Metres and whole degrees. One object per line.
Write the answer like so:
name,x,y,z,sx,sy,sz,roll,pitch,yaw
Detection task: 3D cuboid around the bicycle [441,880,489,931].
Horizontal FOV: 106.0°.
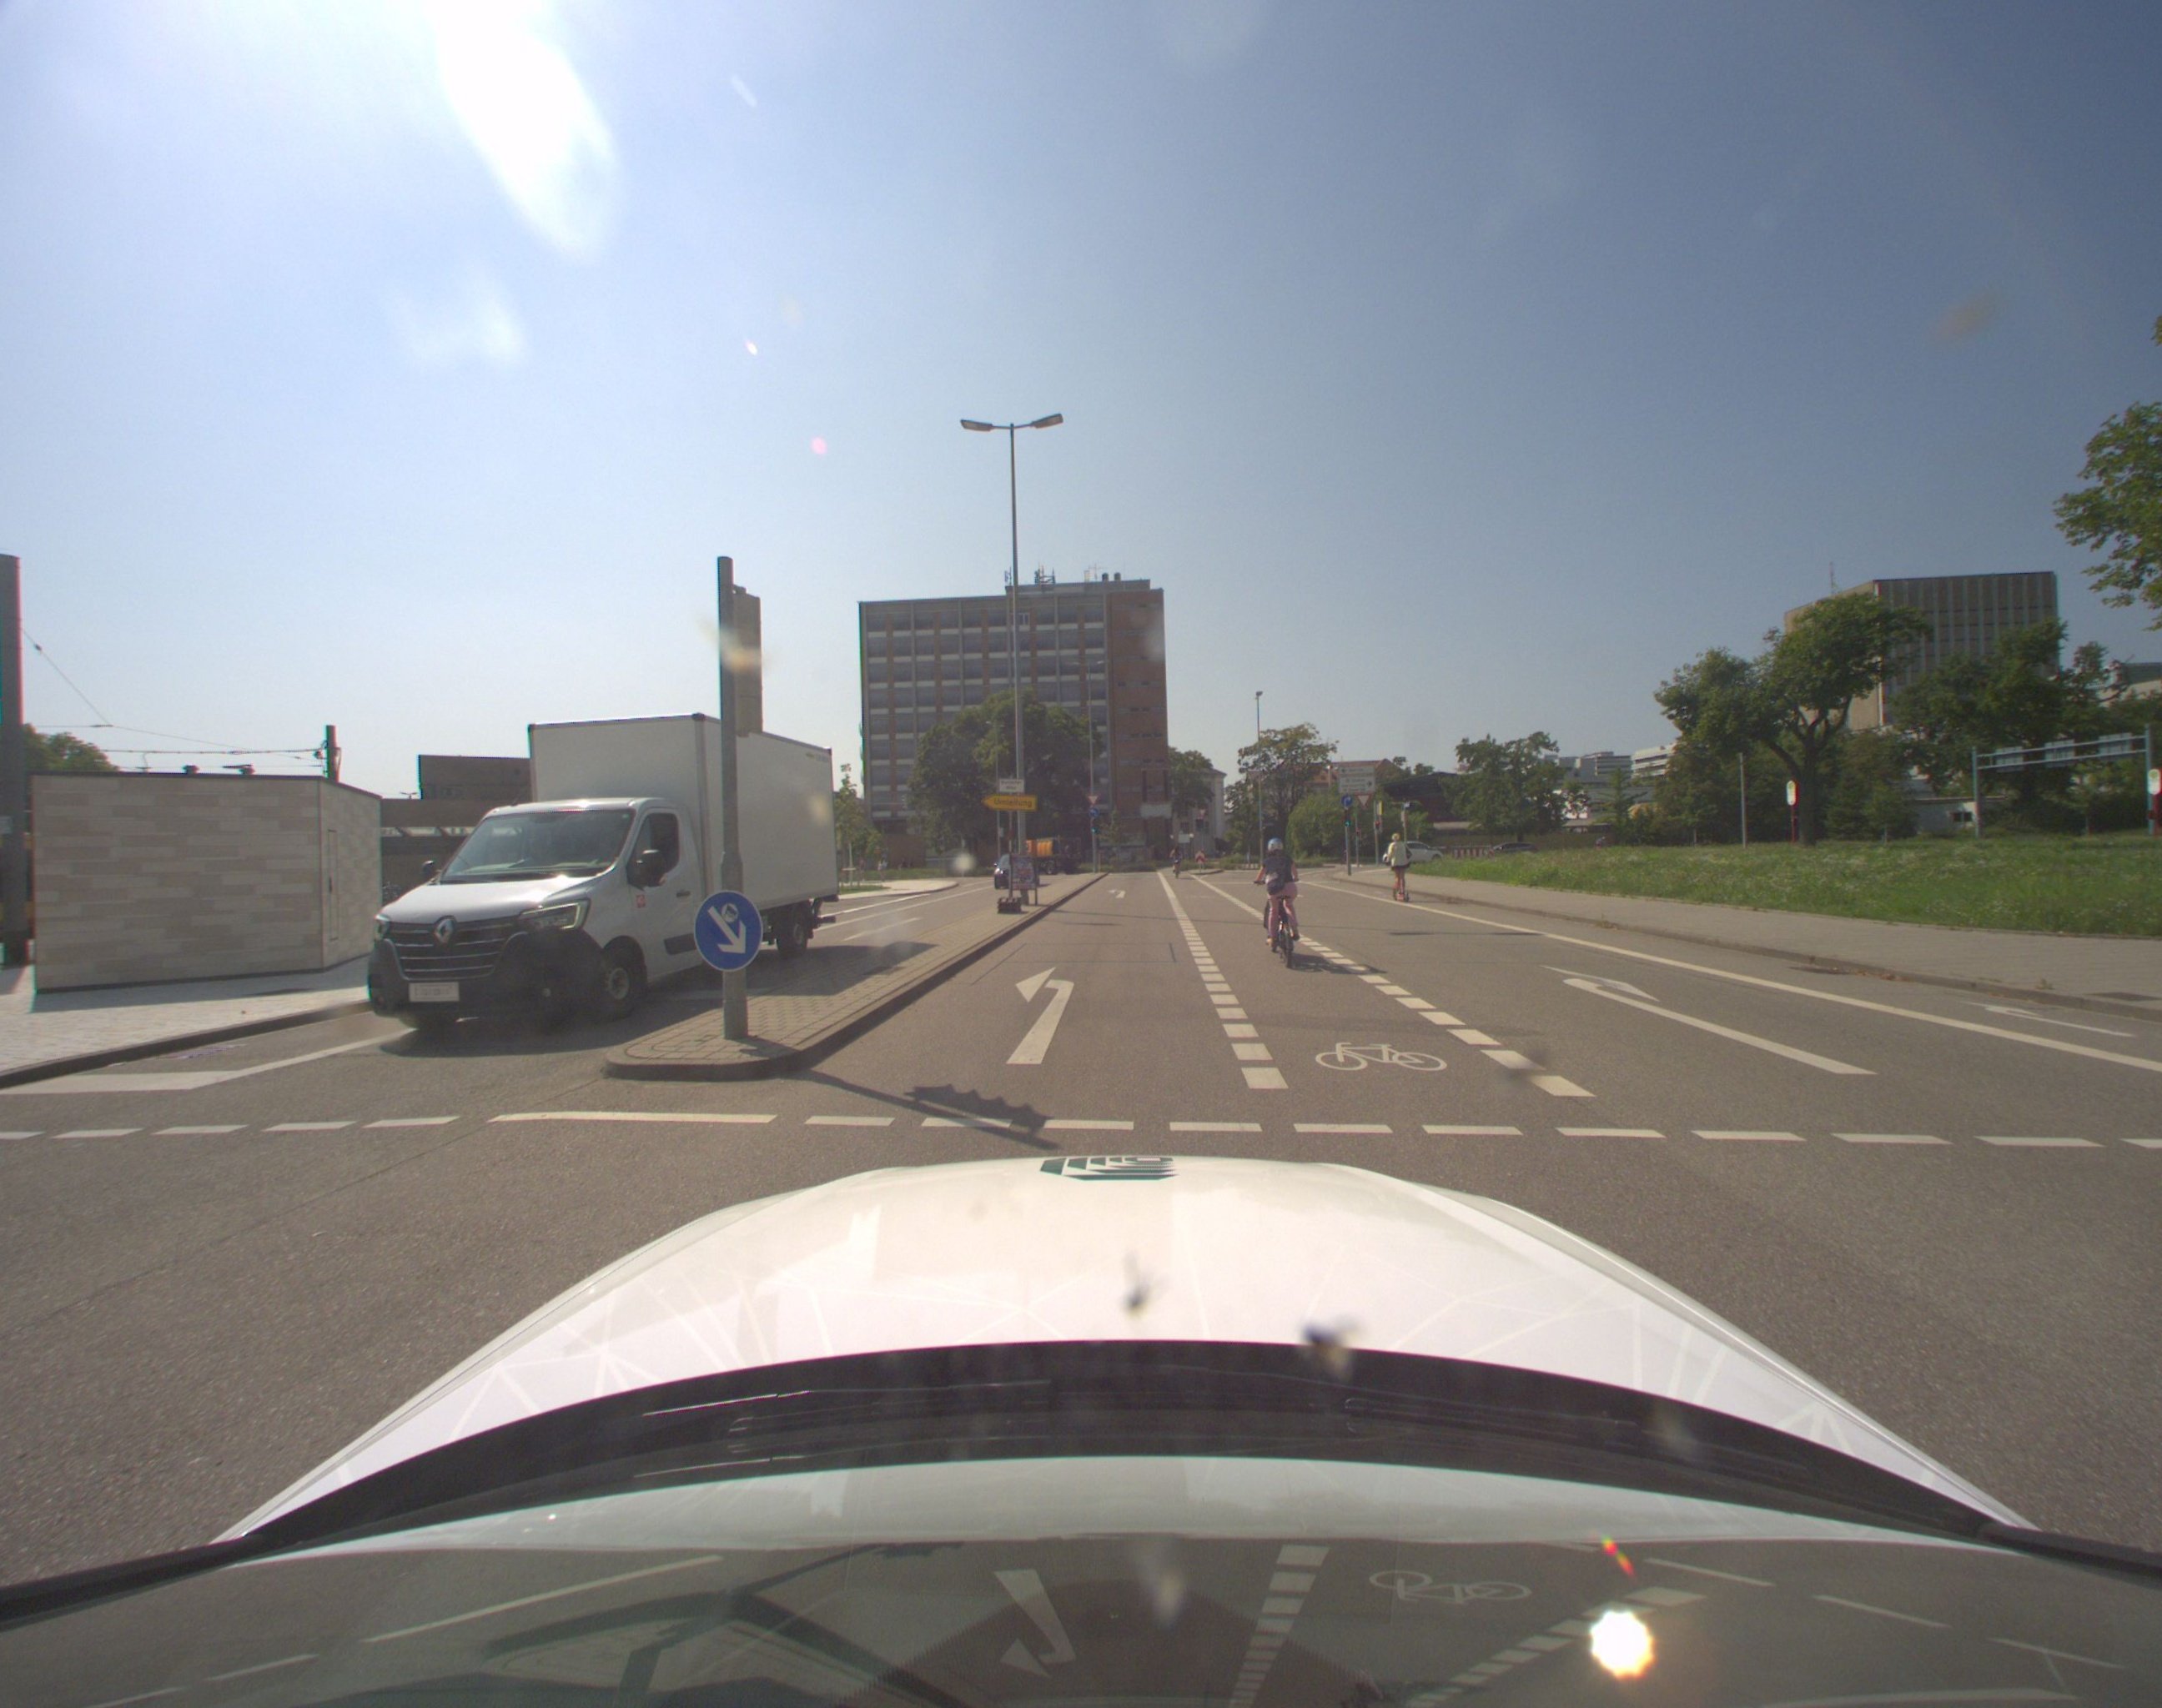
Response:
bicycle,-15.754,1.288,20.869,0.541,1.210,1.601,-2,0,-22

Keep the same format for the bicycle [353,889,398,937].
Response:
bicycle,-17.082,1.401,19.738,0.467,1.063,1.678,-1,-1,-29

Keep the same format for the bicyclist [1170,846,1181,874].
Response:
bicyclist,4.778,0.291,41.149,0.448,1.421,0.496,-2,0,3

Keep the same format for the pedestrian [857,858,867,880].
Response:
pedestrian,-16.124,1.114,59.927,0.534,1.552,0.412,-2,0,-42

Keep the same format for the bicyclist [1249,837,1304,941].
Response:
bicyclist,2.596,0.450,10.845,0.599,1.335,0.661,-2,0,6

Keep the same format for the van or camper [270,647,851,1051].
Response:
van or camper,-5.405,-0.047,10.434,2.390,3.306,7.197,-2,0,3

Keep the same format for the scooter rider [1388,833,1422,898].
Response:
scooter rider,8.999,0.311,22.635,0.756,1.775,0.557,-2,0,13

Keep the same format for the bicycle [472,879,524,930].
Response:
bicycle,-15.126,1.275,21.168,0.606,1.210,1.798,-2,0,-20

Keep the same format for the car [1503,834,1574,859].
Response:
car,32.366,-0.513,57.705,3.966,1.565,1.827,-2,0,6

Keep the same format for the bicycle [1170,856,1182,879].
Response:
bicycle,4.784,0.676,41.009,0.442,1.116,1.447,-2,0,3

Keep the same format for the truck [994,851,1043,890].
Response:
truck,-2.593,0.656,34.584,1.548,1.504,3.624,-2,0,3

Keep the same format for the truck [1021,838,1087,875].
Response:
truck,-2.321,0.219,68.663,2.717,2.990,5.901,-1,-1,-35

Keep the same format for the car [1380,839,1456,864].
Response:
car,20.791,-0.151,50.238,3.991,1.391,1.840,-2,0,-13

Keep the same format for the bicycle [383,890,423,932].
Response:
bicycle,-17.962,1.495,21.603,0.467,1.003,1.744,-1,-1,-29

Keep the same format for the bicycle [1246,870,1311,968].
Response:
bicycle,2.625,0.822,10.954,0.601,1.163,1.814,-2,0,7

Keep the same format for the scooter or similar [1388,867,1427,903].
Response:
scooter or similar,8.986,0.840,22.464,0.767,0.926,1.626,-1,0,13

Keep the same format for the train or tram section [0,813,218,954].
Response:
train or tram section,-35.263,0.968,27.627,2.905,4.068,18.955,-1,-1,-30
